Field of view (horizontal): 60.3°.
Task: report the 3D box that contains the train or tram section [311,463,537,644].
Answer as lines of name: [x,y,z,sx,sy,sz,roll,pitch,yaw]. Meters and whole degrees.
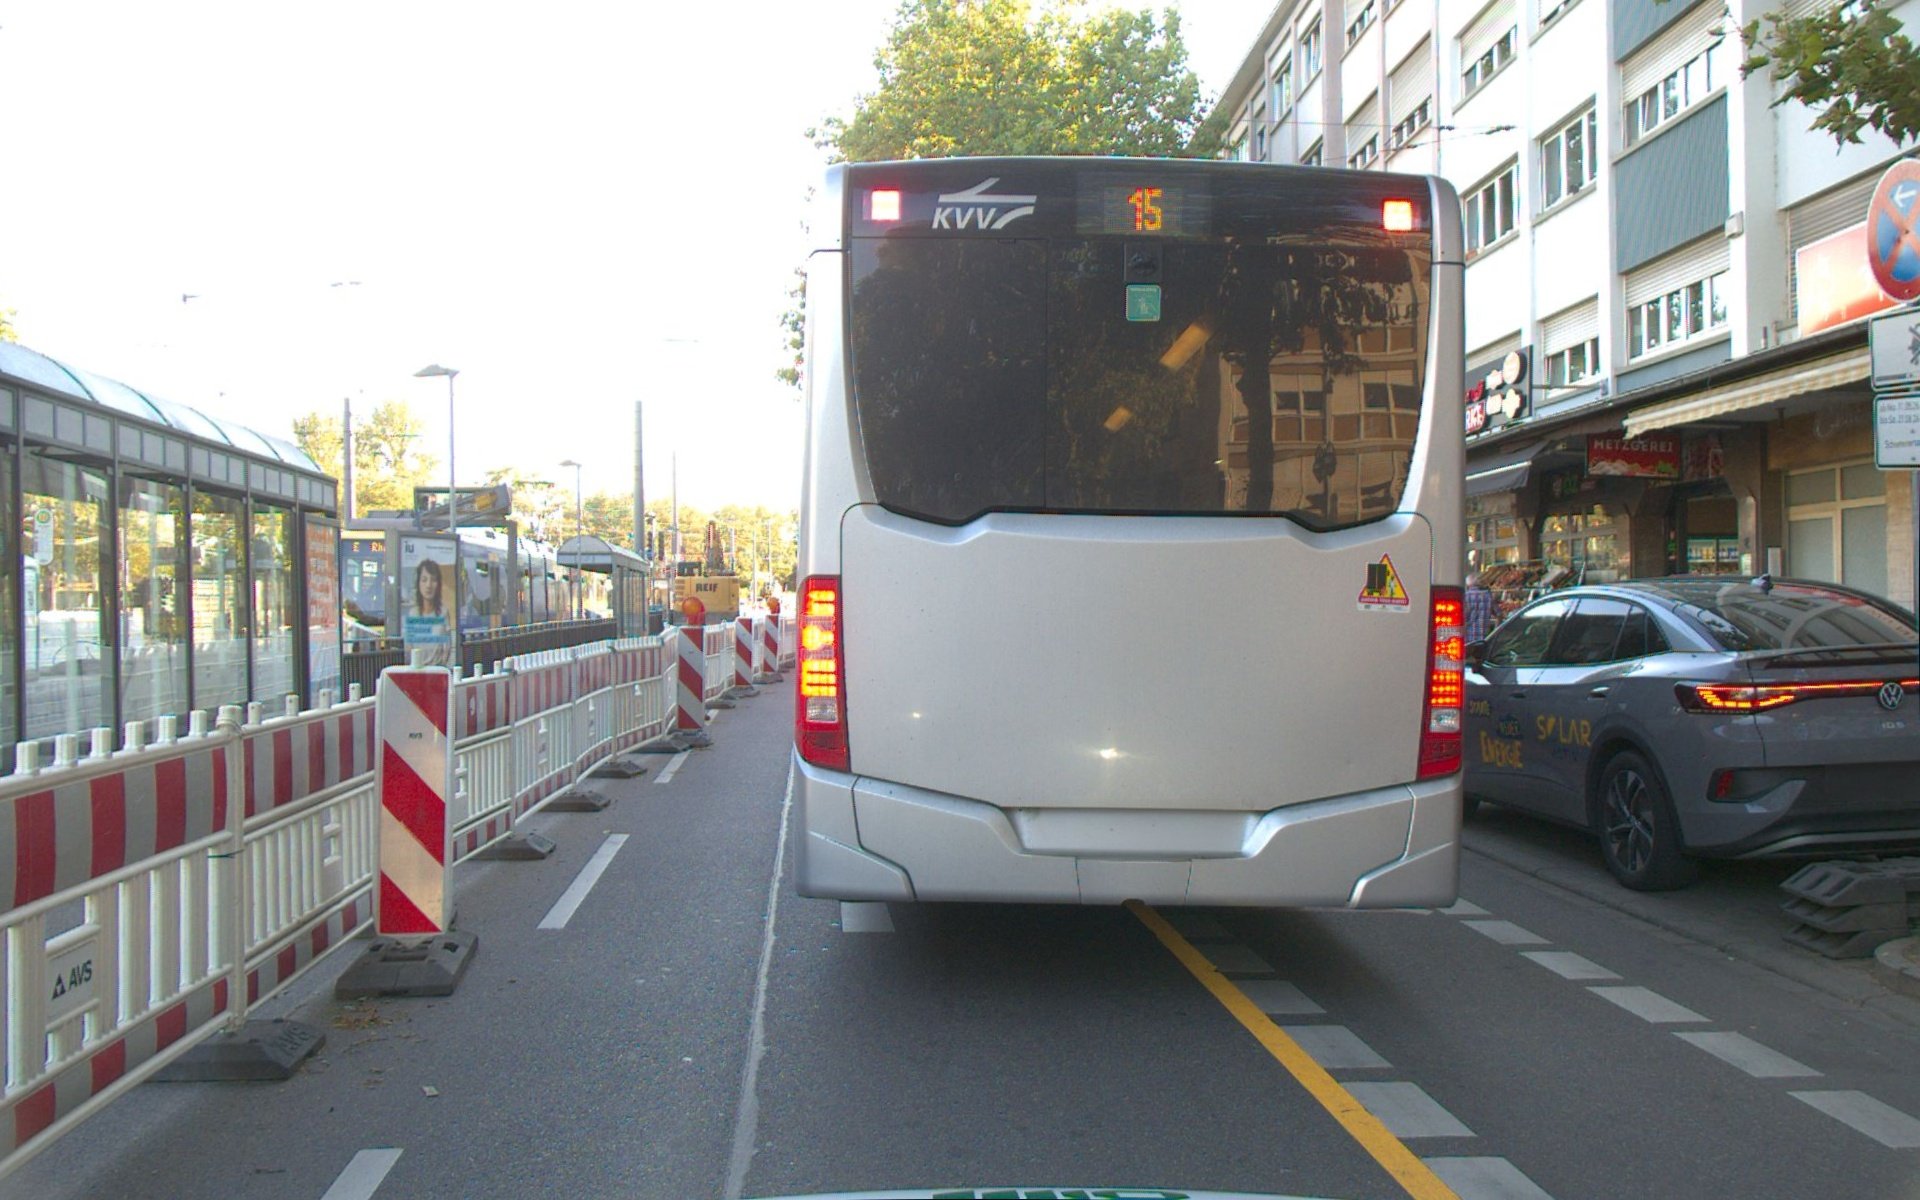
train or tram section: [-12.271,-0.905,39.154,2.635,3.595,11.756,1,0,-6]

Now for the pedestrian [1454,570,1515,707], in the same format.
pedestrian: [6.648,0.485,20.987,0.649,1.696,0.601,-2,-1,15]

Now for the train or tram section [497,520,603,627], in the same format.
train or tram section: [-15.221,-0.874,62.123,2.636,3.594,11.560,1,0,-8]

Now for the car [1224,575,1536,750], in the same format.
car: [4.467,0.590,18.352,1.955,1.609,4.363,-3,1,-5]

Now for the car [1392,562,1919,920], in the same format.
car: [4.358,0.633,10.002,1.955,1.609,4.363,-3,1,-5]

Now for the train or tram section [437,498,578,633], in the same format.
train or tram section: [-13.634,-0.924,50.739,2.636,3.621,11.560,1,0,-8]

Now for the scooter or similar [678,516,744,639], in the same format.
scooter or similar: [-9.659,-0.841,64.420,2.422,4.549,5.962,0,0,-8]

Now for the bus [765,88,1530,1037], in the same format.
bus: [0.595,-0.112,9.638,2.558,3.181,7.991,1,0,-1]
